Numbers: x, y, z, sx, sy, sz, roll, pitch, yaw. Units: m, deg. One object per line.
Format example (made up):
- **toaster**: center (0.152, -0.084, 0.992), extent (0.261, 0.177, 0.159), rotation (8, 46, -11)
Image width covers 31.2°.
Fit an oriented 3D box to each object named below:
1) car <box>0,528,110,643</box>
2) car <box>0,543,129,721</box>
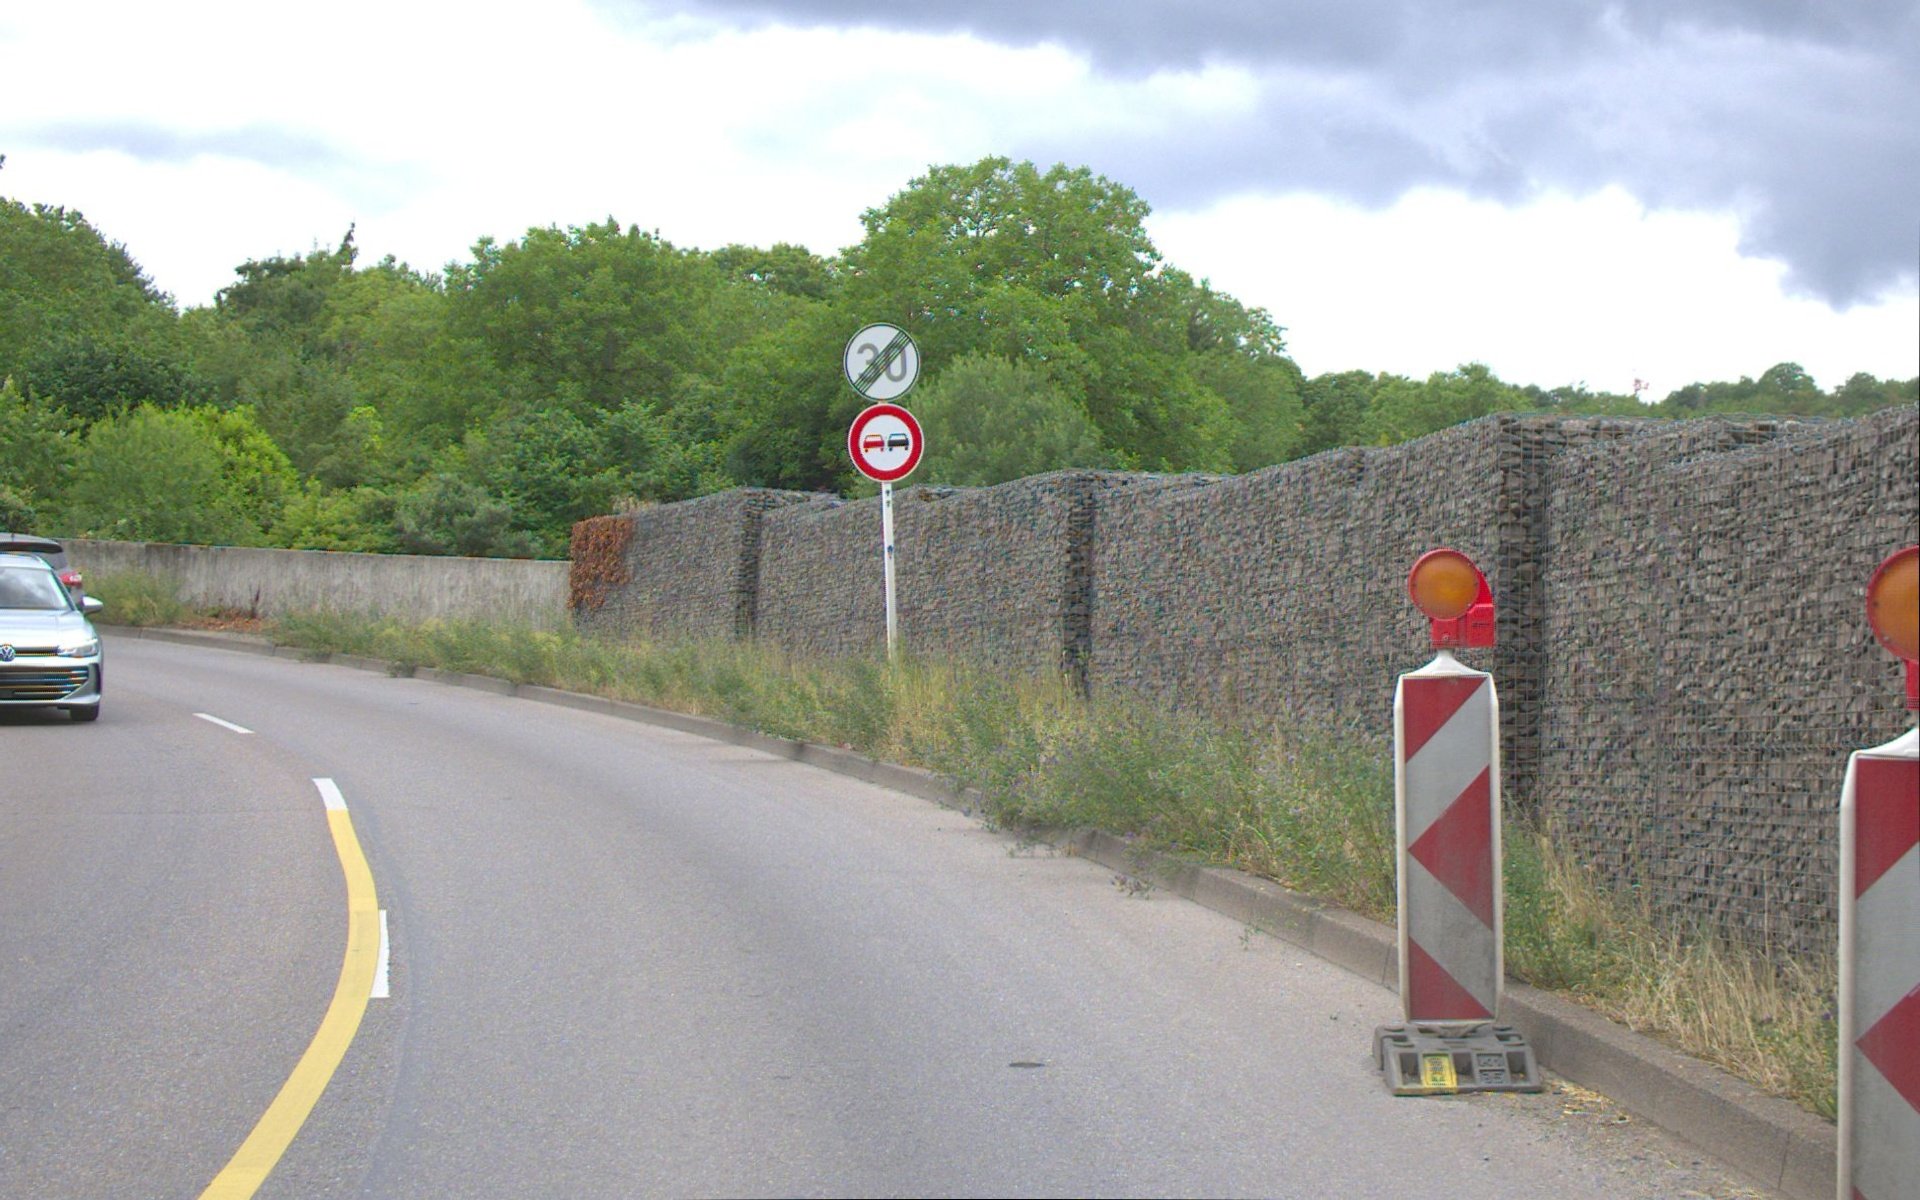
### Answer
- **car**: center (-13.248, -0.229, 47.155), extent (1.840, 1.478, 4.000), rotation (-1, 2, -34)
- **car**: center (-9.033, 0.245, 31.809), extent (1.881, 1.472, 4.603), rotation (-1, 2, -23)
